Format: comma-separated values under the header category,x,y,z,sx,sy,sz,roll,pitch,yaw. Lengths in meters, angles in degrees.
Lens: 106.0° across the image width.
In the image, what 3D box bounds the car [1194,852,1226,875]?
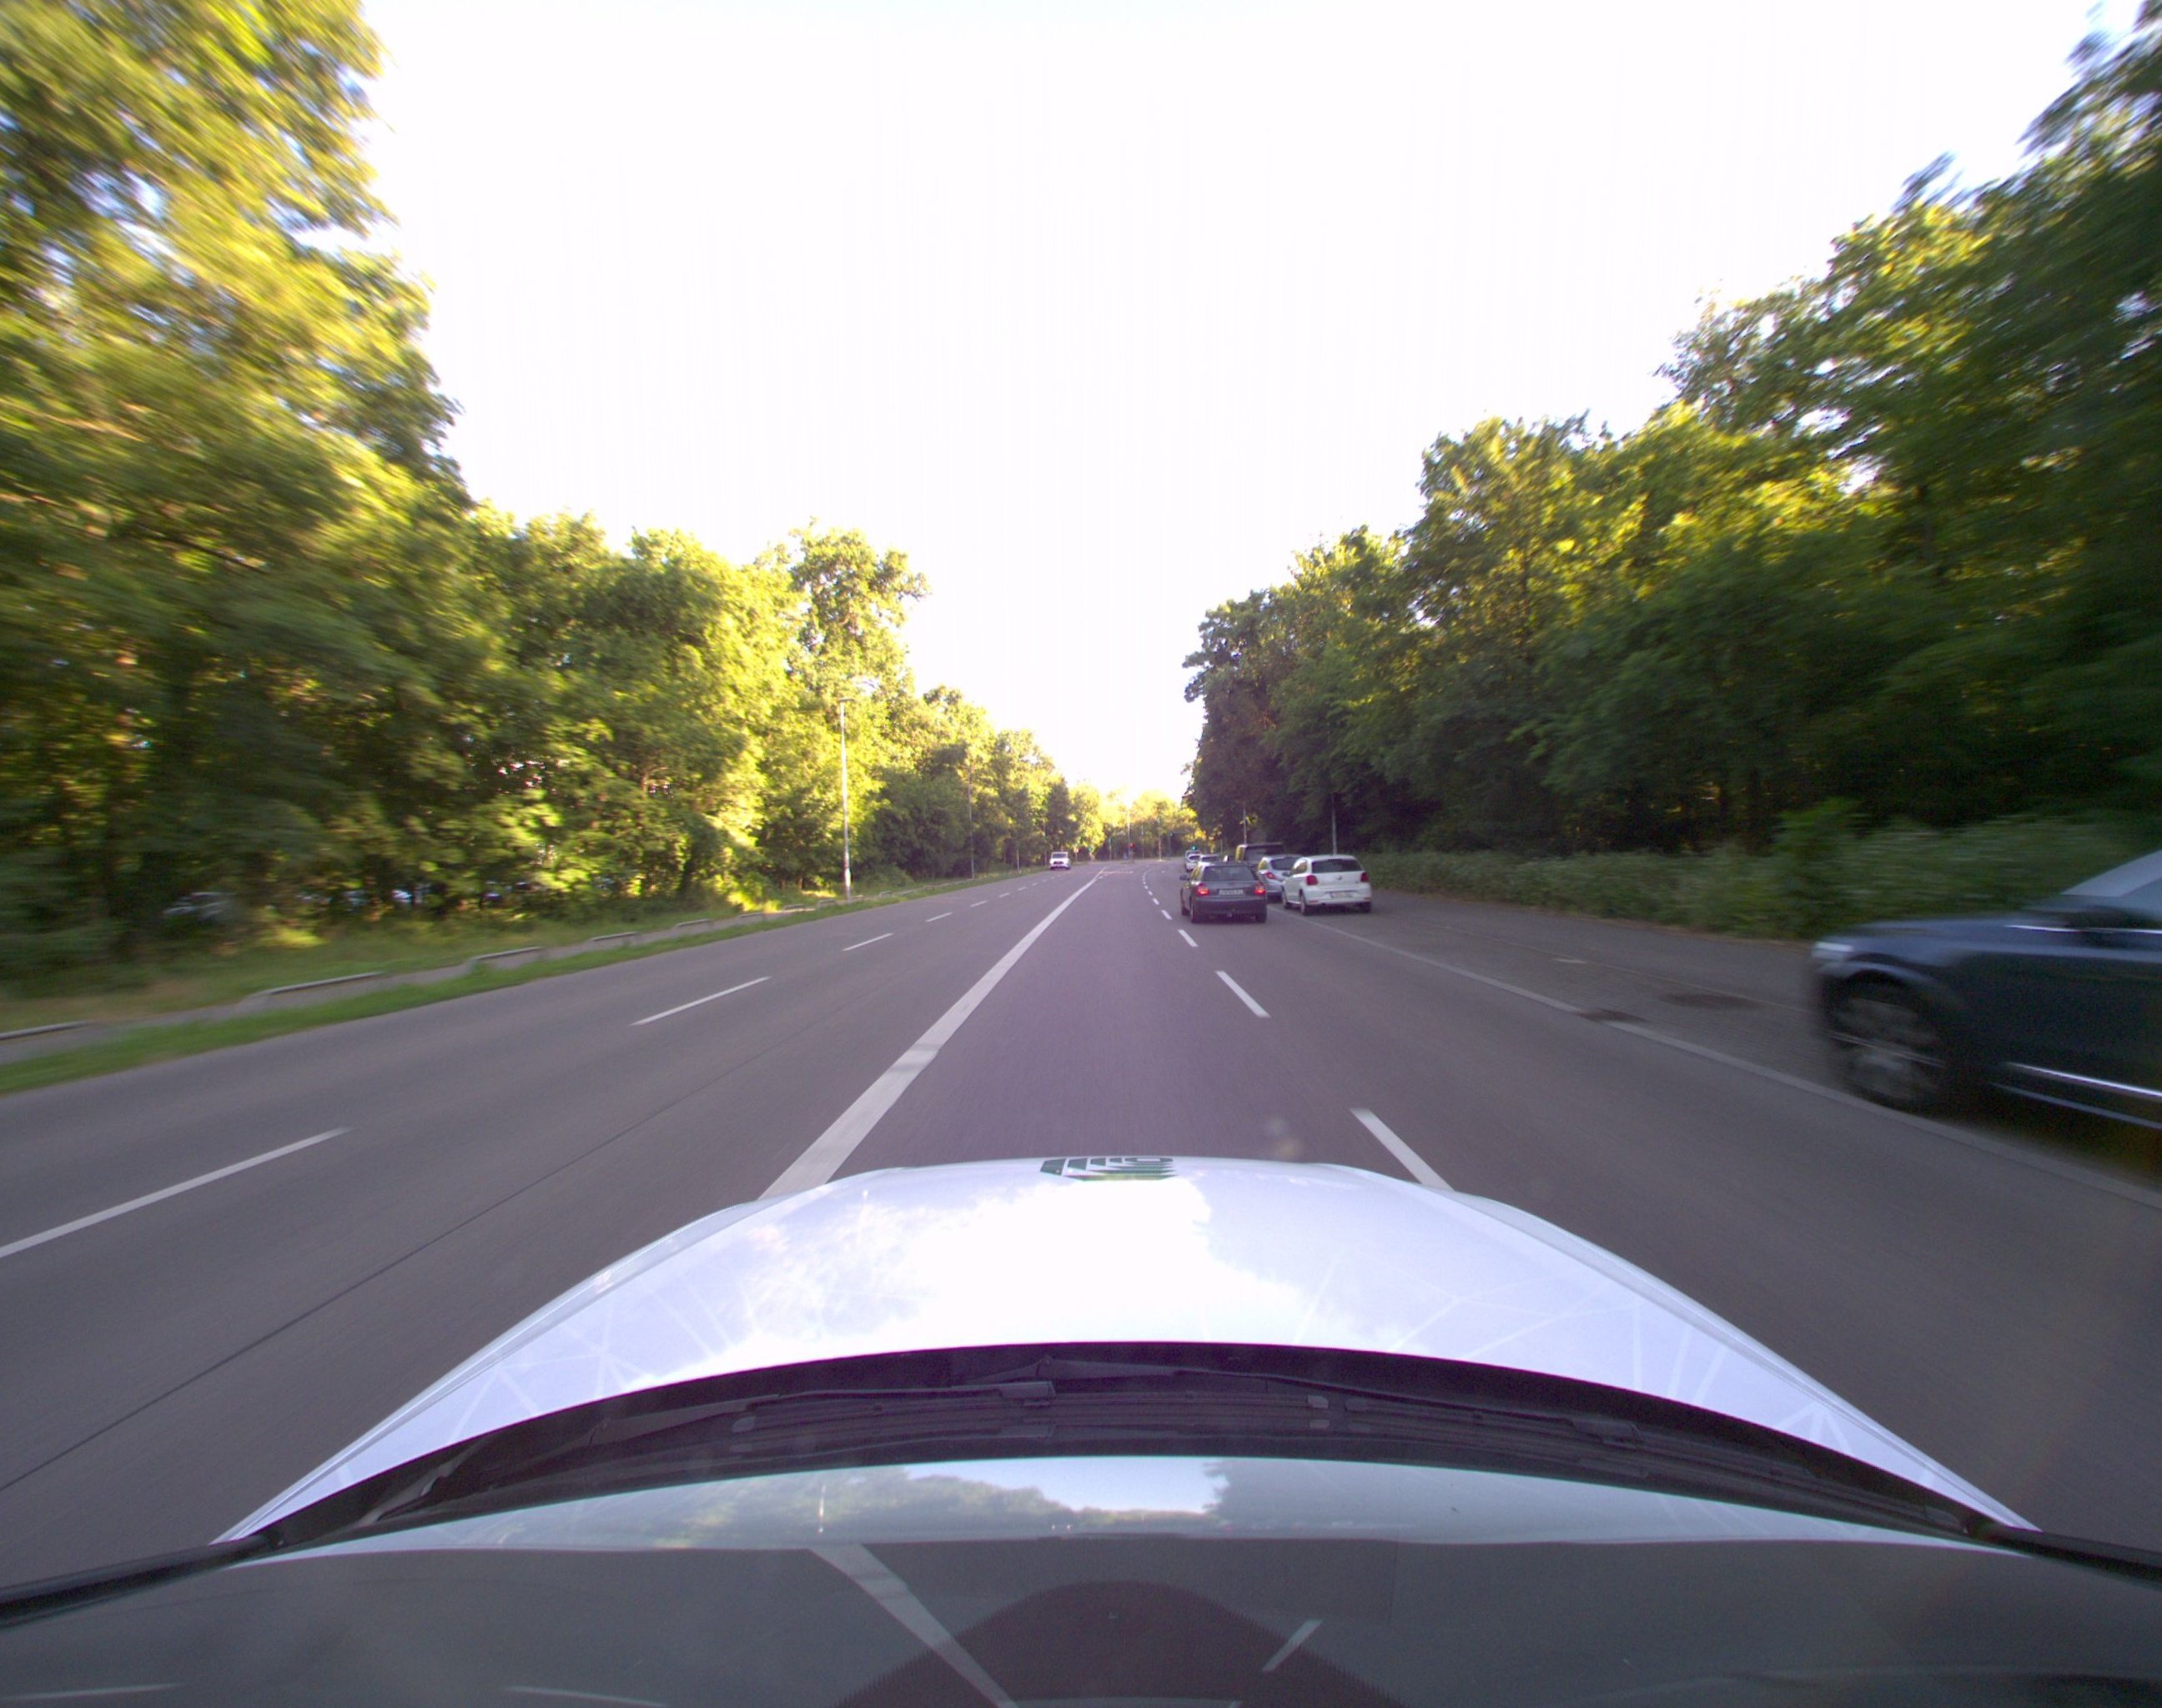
category,x,y,z,sx,sy,sz,roll,pitch,yaw
car,8.596,0.628,54.634,1.720,1.441,4.672,-1,0,4

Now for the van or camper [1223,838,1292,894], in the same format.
category,x,y,z,sx,sy,sz,roll,pitch,yaw
van or camper,6.934,0.434,32.523,1.884,1.948,5.139,-4,0,4

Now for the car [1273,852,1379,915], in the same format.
category,x,y,z,sx,sy,sz,roll,pitch,yaw
car,6.326,0.693,21.473,1.720,1.441,4.104,-2,0,3

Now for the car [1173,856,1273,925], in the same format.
category,x,y,z,sx,sy,sz,roll,pitch,yaw
car,3.325,0.798,19.772,1.722,1.441,4.090,-1,0,0

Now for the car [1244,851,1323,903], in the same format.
category,x,y,z,sx,sy,sz,roll,pitch,yaw
car,6.504,0.689,26.592,1.720,1.544,4.221,-1,0,3

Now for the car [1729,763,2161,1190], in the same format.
category,x,y,z,sx,sy,sz,roll,pitch,yaw
car,5.618,0.509,3.428,1.822,1.868,5.076,-2,0,2

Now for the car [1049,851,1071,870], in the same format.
category,x,y,z,sx,sy,sz,roll,pitch,yaw
car,-2.278,0.732,89.216,1.986,1.992,5.000,0,-1,2

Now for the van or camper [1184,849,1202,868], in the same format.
category,x,y,z,sx,sy,sz,roll,pitch,yaw
van or camper,12.596,0.485,91.696,1.823,1.970,5.350,-1,0,6

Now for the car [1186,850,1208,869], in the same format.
category,x,y,z,sx,sy,sz,roll,pitch,yaw
car,9.850,0.452,69.376,1.719,1.522,4.097,-2,0,6

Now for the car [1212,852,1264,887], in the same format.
category,x,y,z,sx,sy,sz,roll,pitch,yaw
car,7.413,0.684,38.863,1.830,1.441,4.963,-4,0,4
